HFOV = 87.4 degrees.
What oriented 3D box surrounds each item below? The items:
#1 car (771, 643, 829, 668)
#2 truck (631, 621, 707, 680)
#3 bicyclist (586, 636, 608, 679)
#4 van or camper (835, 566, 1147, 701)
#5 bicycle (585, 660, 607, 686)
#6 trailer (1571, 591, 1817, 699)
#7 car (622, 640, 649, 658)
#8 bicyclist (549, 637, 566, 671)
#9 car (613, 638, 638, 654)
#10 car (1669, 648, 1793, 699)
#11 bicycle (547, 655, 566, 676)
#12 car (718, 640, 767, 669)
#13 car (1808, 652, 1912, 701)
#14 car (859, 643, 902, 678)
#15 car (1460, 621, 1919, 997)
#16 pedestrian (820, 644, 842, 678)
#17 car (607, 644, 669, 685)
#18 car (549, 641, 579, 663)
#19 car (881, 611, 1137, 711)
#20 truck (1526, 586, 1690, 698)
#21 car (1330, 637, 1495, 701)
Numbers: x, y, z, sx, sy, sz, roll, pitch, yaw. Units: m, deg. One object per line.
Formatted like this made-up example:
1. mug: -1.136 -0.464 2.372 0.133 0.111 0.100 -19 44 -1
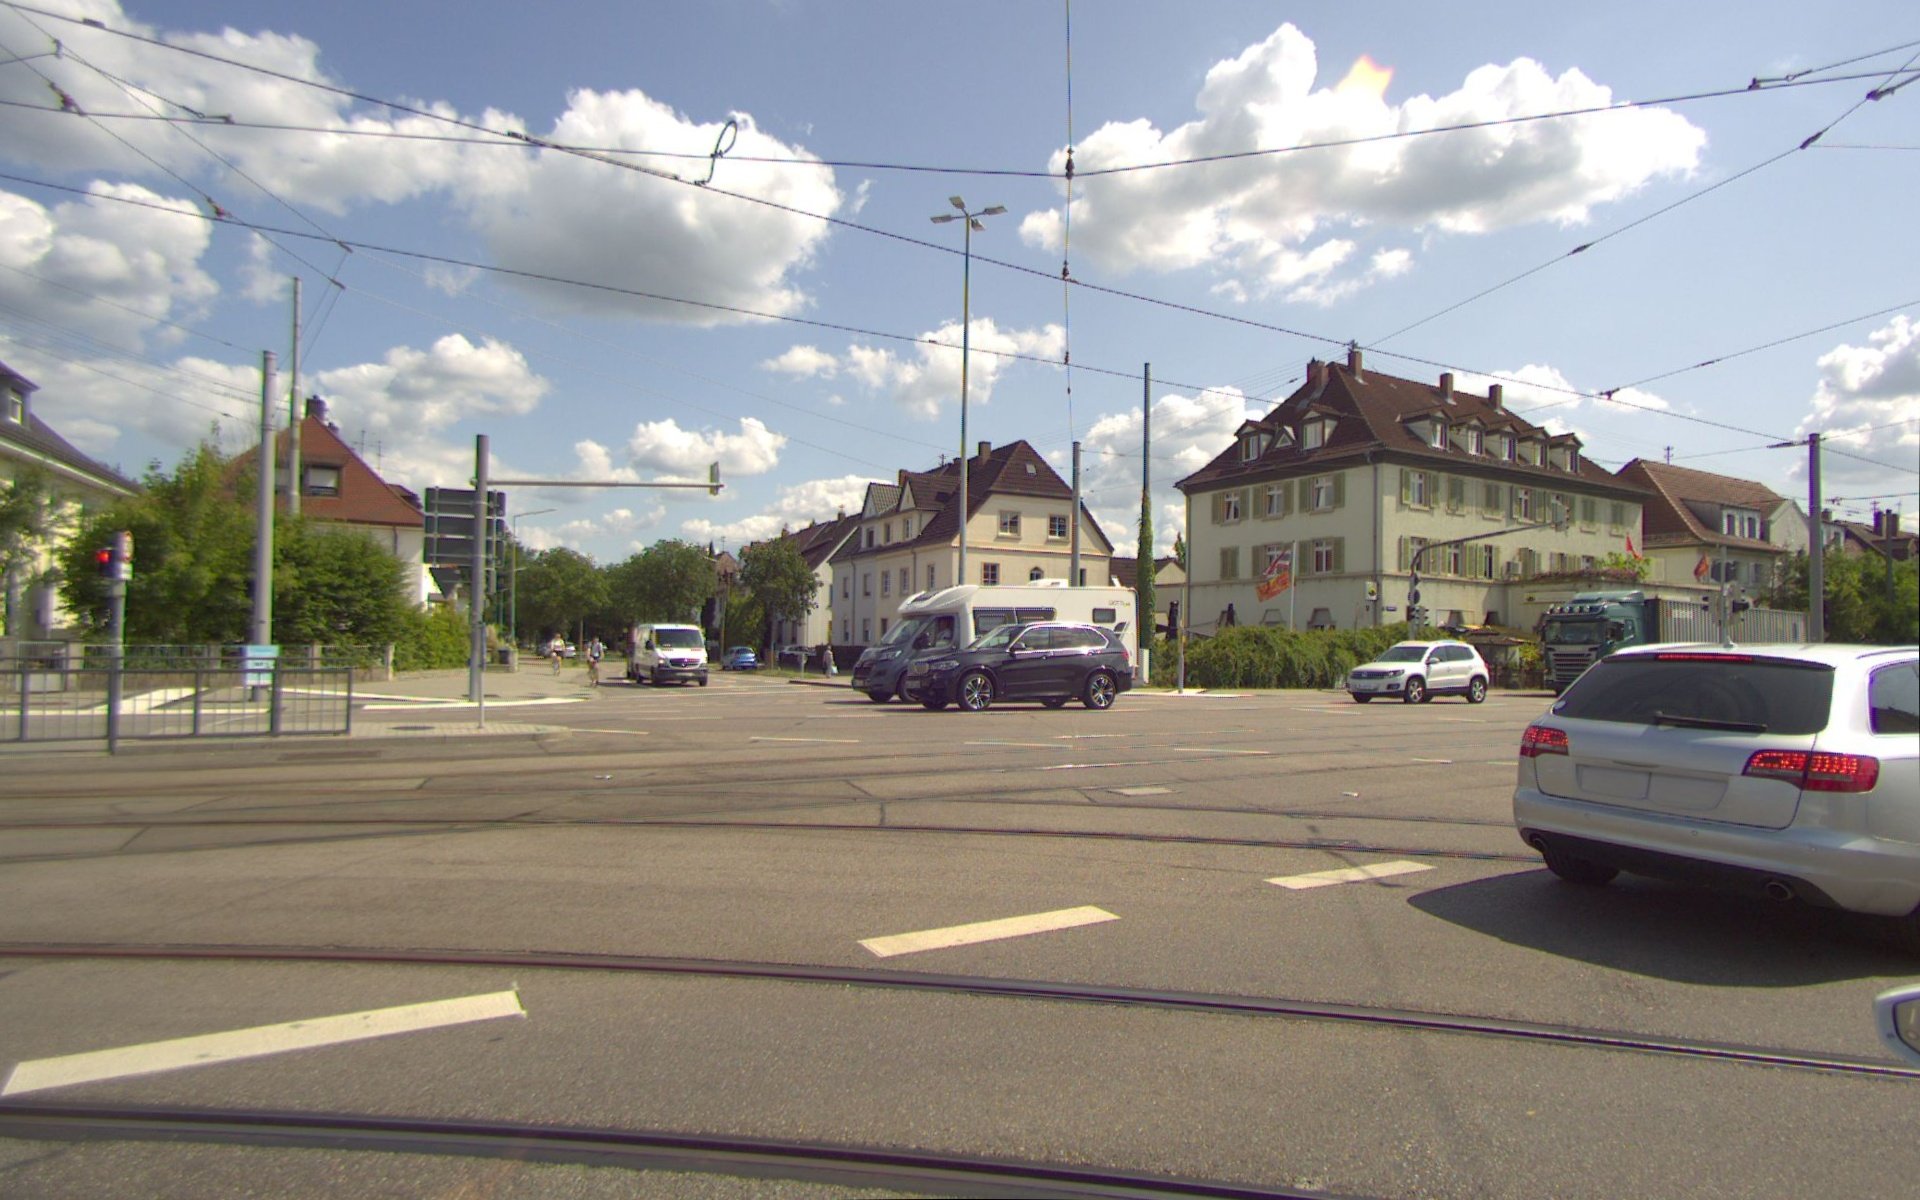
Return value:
1. car: -11.974 4.156 75.233 3.944 1.617 1.830 3 -1 -24
2. truck: -11.275 1.877 38.585 1.668 1.947 6.163 3 -1 -26
3. bicyclist: -13.223 2.092 36.561 0.595 1.528 0.641 3 -1 -28
4. van or camper: 0.912 0.962 24.918 7.659 2.967 2.315 3 -4 -29
5. bicycle: -13.234 2.659 36.500 0.595 0.846 1.075 3 -1 -27
6. trailer: 29.680 1.888 40.328 12.675 3.870 2.590 2 -4 -28
7. car: -34.349 5.197 106.129 1.976 1.617 3.970 3 -1 -28
8. bicyclist: -18.428 2.480 45.965 0.595 1.517 0.498 3 -1 -28
9. car: -37.290 5.129 111.920 1.976 1.617 3.970 3 -1 -28
10. car: 26.932 2.572 35.061 4.416 1.658 1.788 3 -4 -28
11. bicycle: -18.453 3.006 45.946 0.595 0.846 1.797 3 -1 -27
12. car: -13.975 3.487 64.344 1.976 1.617 3.970 3 -1 -28
13. car: 36.108 3.094 40.289 4.658 1.838 1.786 4 -4 -30
14. car: -4.569 3.414 57.104 1.900 1.689 4.280 3 -1 -11
15. car: 5.214 0.948 5.993 4.668 1.491 1.786 3 -3 -31
16. pedestrian: -6.700 3.150 52.102 1.018 1.670 0.922 3 -1 -10
17. car: -14.535 2.866 45.212 1.975 1.572 4.149 4 -2 -27
18. car: -33.935 4.433 86.010 1.975 1.572 4.149 4 -2 -27
19. car: 1.017 1.251 20.182 4.817 1.799 1.986 3 -4 -28
20. truck: 24.118 1.619 37.391 5.595 3.870 2.590 2 -4 -27
21. car: 12.141 1.907 26.955 4.128 1.572 1.985 4 -6 -30
